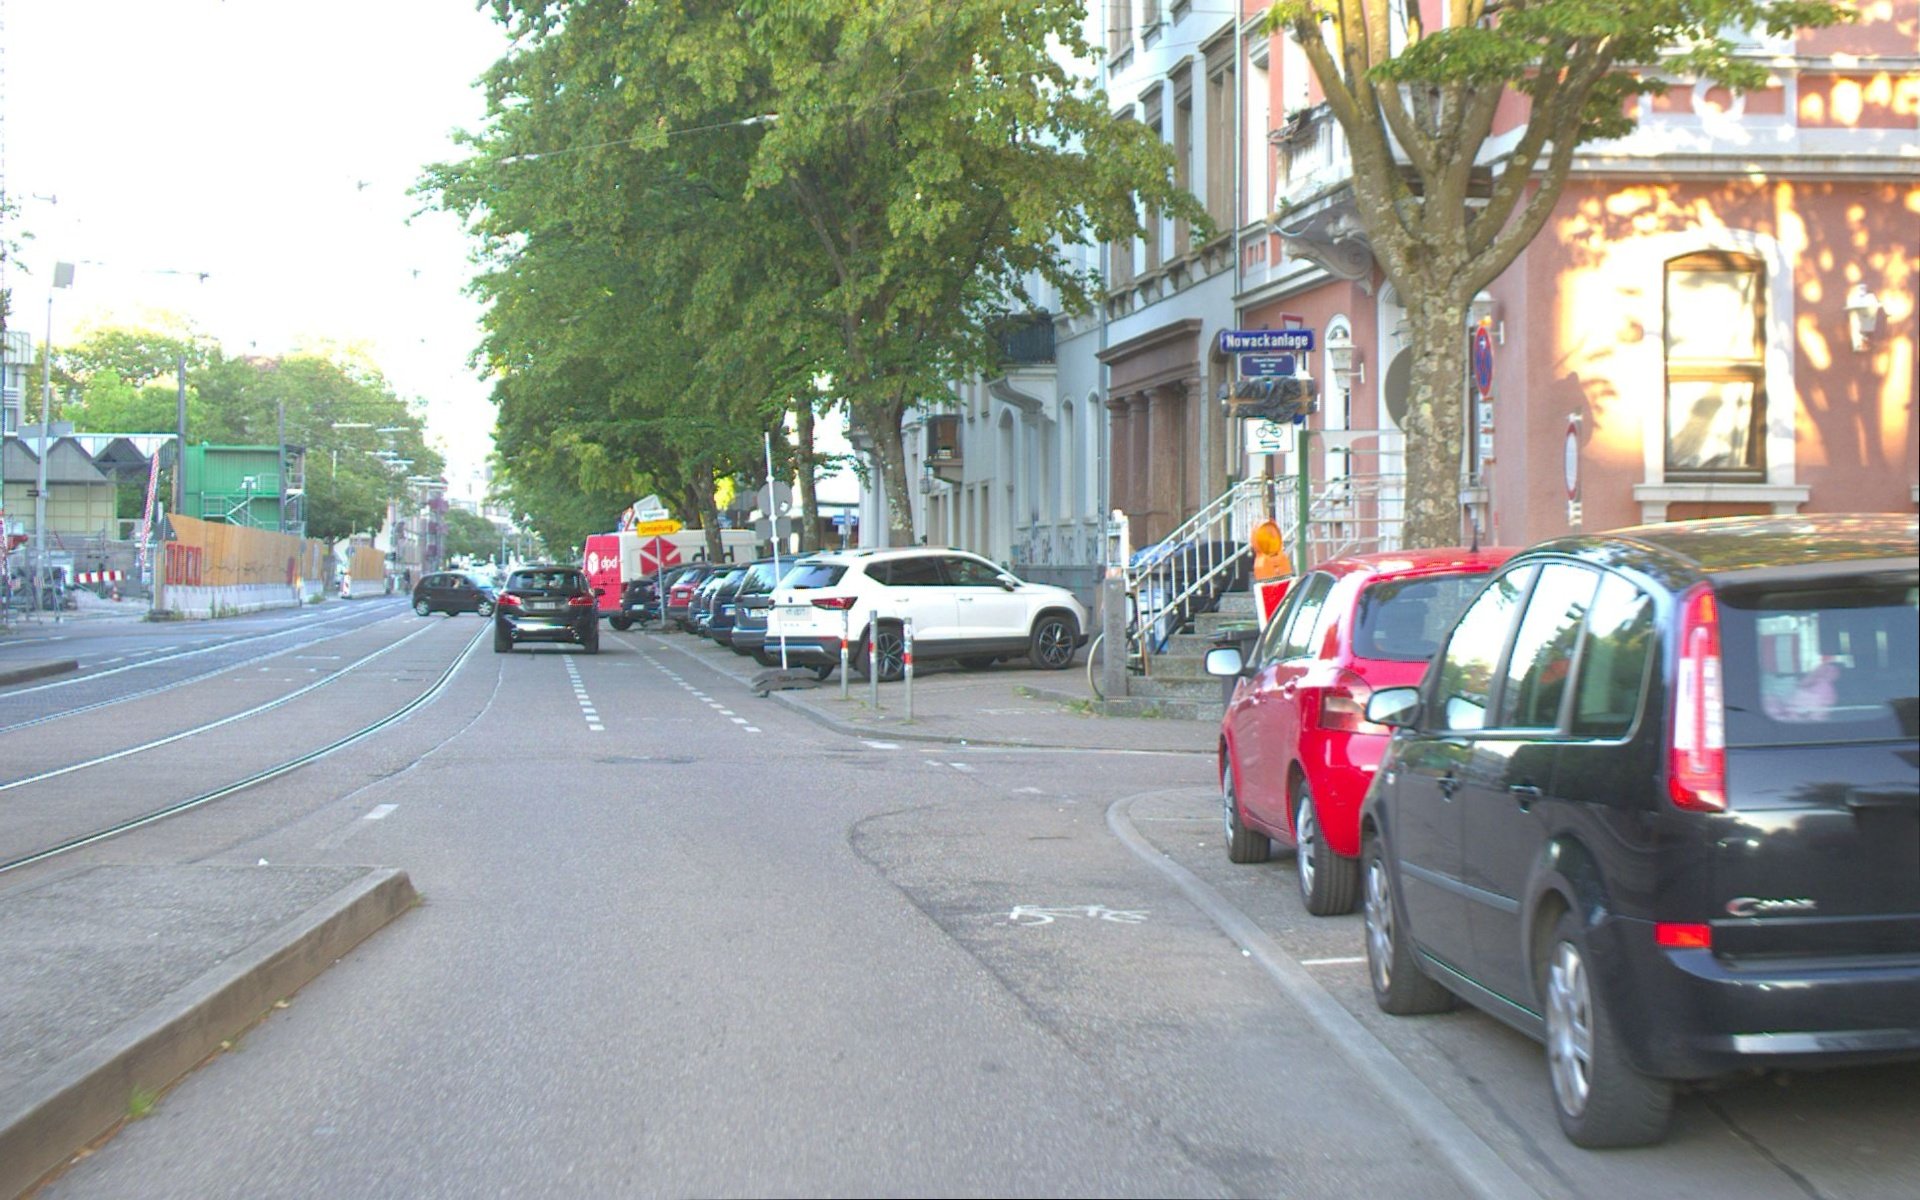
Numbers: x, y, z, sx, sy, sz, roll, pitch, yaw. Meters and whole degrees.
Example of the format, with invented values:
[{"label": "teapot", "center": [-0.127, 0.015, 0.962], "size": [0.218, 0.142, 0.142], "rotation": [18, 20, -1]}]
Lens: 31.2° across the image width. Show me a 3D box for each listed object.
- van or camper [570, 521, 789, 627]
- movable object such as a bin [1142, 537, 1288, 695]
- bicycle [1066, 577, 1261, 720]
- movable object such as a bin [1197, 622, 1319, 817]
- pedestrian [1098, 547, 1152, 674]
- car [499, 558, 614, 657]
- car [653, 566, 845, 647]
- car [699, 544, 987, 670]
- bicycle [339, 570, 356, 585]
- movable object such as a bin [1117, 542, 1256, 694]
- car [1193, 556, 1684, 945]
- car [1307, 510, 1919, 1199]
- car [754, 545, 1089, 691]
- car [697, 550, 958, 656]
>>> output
[{"label": "van or camper", "center": [-7.406, -0.701, 91.191], "size": [5.534, 2.522, 2.086], "rotation": [-4, 1, -41]}, {"label": "movable object such as a bin", "center": [2.454, 0.147, 33.272], "size": [1.140, 1.497, 1.399], "rotation": [0, 0, -7]}, {"label": "bicycle", "center": [1.883, 0.428, 31.584], "size": [1.913, 1.262, 0.601], "rotation": [-1, 1, -42]}, {"label": "movable object such as a bin", "center": [1.808, 0.716, 20.854], "size": [0.712, 1.149, 0.588], "rotation": [1, 0, 5]}, {"label": "pedestrian", "center": [2.084, 0.130, 43.489], "size": [0.586, 1.604, 0.625], "rotation": [0, 0, -7]}, {"label": "car", "center": [-7.188, 0.117, 60.976], "size": [1.881, 1.614, 4.001], "rotation": [3, 0, -8]}, {"label": "car", "center": [-4.868, 0.147, 79.423], "size": [3.942, 1.598, 1.840], "rotation": [-4, 1, -33]}, {"label": "car", "center": [-1.706, 0.086, 51.060], "size": [3.944, 1.663, 1.900], "rotation": [-3, 1, -44]}, {"label": "bicycle", "center": [-34.019, -1.258, 191.006], "size": [0.947, 0.846, 2.697], "rotation": [0, 1, -10]}, {"label": "movable object such as a bin", "center": [2.274, 0.170, 34.692], "size": [1.140, 1.497, 1.399], "rotation": [0, 0, -7]}, {"label": "car", "center": [2.075, 0.594, 15.836], "size": [1.564, 1.531, 3.693], "rotation": [-2, 1, -2]}, {"label": "car", "center": [2.259, 0.582, 10.040], "size": [1.743, 1.626, 4.089], "rotation": [-2, 1, -4]}, {"label": "car", "center": [-0.457, 0.193, 43.111], "size": [3.943, 1.621, 1.674], "rotation": [-3, 2, -37]}, {"label": "car", "center": [-2.180, 0.042, 57.103], "size": [3.943, 1.598, 1.840], "rotation": [-3, 0, -39]}]
